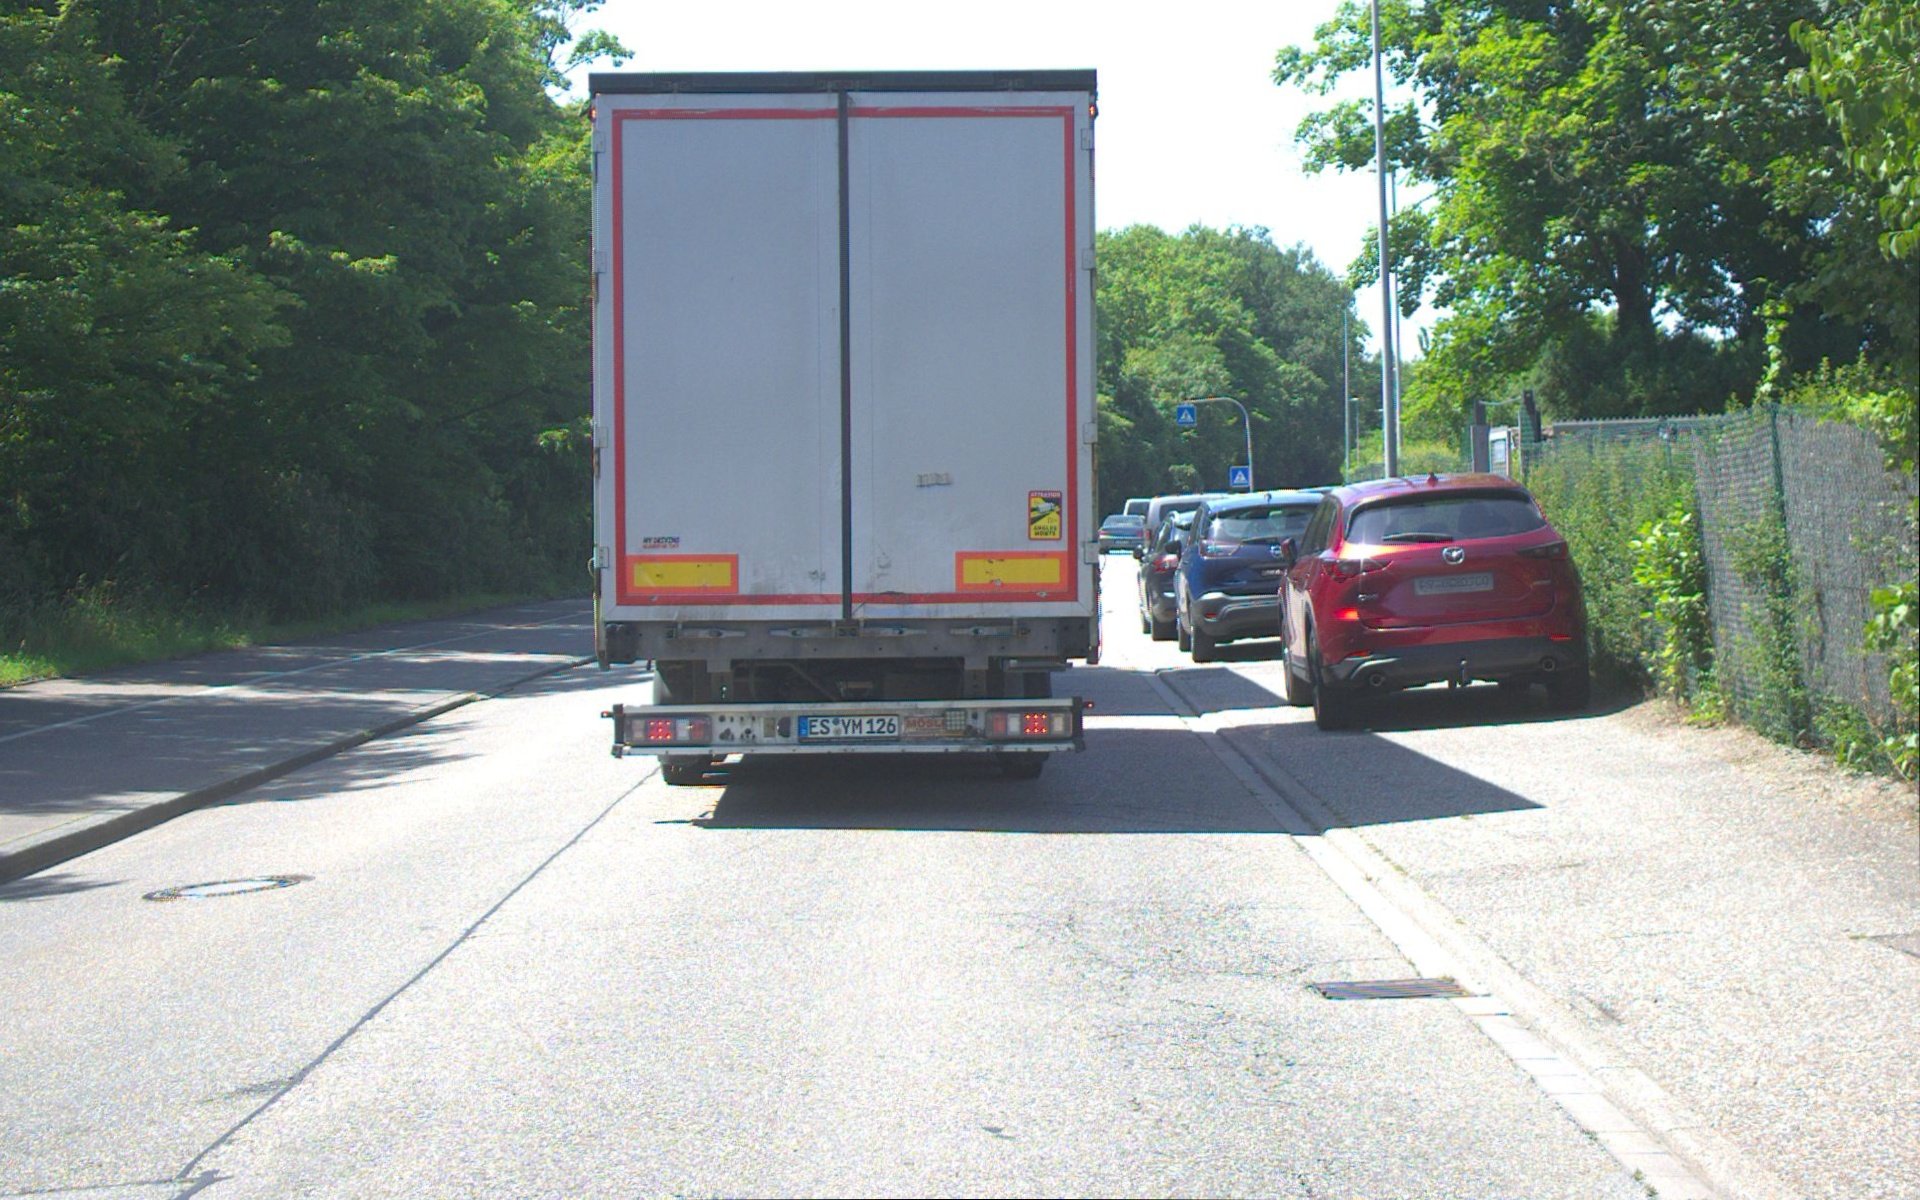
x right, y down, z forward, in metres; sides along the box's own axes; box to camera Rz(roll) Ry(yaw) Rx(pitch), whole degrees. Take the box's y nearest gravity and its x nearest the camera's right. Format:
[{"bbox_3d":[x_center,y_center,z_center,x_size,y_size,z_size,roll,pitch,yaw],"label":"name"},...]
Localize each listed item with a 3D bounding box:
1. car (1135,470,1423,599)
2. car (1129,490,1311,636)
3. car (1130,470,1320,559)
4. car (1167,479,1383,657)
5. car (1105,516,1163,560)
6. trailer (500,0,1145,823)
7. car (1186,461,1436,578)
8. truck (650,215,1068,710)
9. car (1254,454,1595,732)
[{"bbox_3d":[5.226,-1.093,56.699,4.470,1.698,1.914,-5,2,2],"label":"car"},{"bbox_3d":[3.033,-0.487,40.932,1.789,1.476,4.665,-5,2,1],"label":"car"},{"bbox_3d":[6.746,-2.186,87.574,4.622,1.842,1.995,-5,2,5],"label":"car"},{"bbox_3d":[3.113,-0.375,34.721,1.789,1.598,4.130,-3,2,1],"label":"car"},{"bbox_3d":[6.185,-2.219,121.941,1.781,1.481,3.999,-1,2,7],"label":"car"},{"bbox_3d":[-0.735,-1.116,22.791,3.112,4.088,11.538,-1,1,-1],"label":"trailer"},{"bbox_3d":[6.252,-1.441,61.472,4.258,1.692,1.853,-5,1,5],"label":"car"},{"bbox_3d":[-0.782,-1.132,29.442,3.114,3.712,6.414,-1,1,0],"label":"truck"},{"bbox_3d":[3.209,-0.116,24.575,1.789,1.652,4.453,-5,2,1],"label":"car"}]
